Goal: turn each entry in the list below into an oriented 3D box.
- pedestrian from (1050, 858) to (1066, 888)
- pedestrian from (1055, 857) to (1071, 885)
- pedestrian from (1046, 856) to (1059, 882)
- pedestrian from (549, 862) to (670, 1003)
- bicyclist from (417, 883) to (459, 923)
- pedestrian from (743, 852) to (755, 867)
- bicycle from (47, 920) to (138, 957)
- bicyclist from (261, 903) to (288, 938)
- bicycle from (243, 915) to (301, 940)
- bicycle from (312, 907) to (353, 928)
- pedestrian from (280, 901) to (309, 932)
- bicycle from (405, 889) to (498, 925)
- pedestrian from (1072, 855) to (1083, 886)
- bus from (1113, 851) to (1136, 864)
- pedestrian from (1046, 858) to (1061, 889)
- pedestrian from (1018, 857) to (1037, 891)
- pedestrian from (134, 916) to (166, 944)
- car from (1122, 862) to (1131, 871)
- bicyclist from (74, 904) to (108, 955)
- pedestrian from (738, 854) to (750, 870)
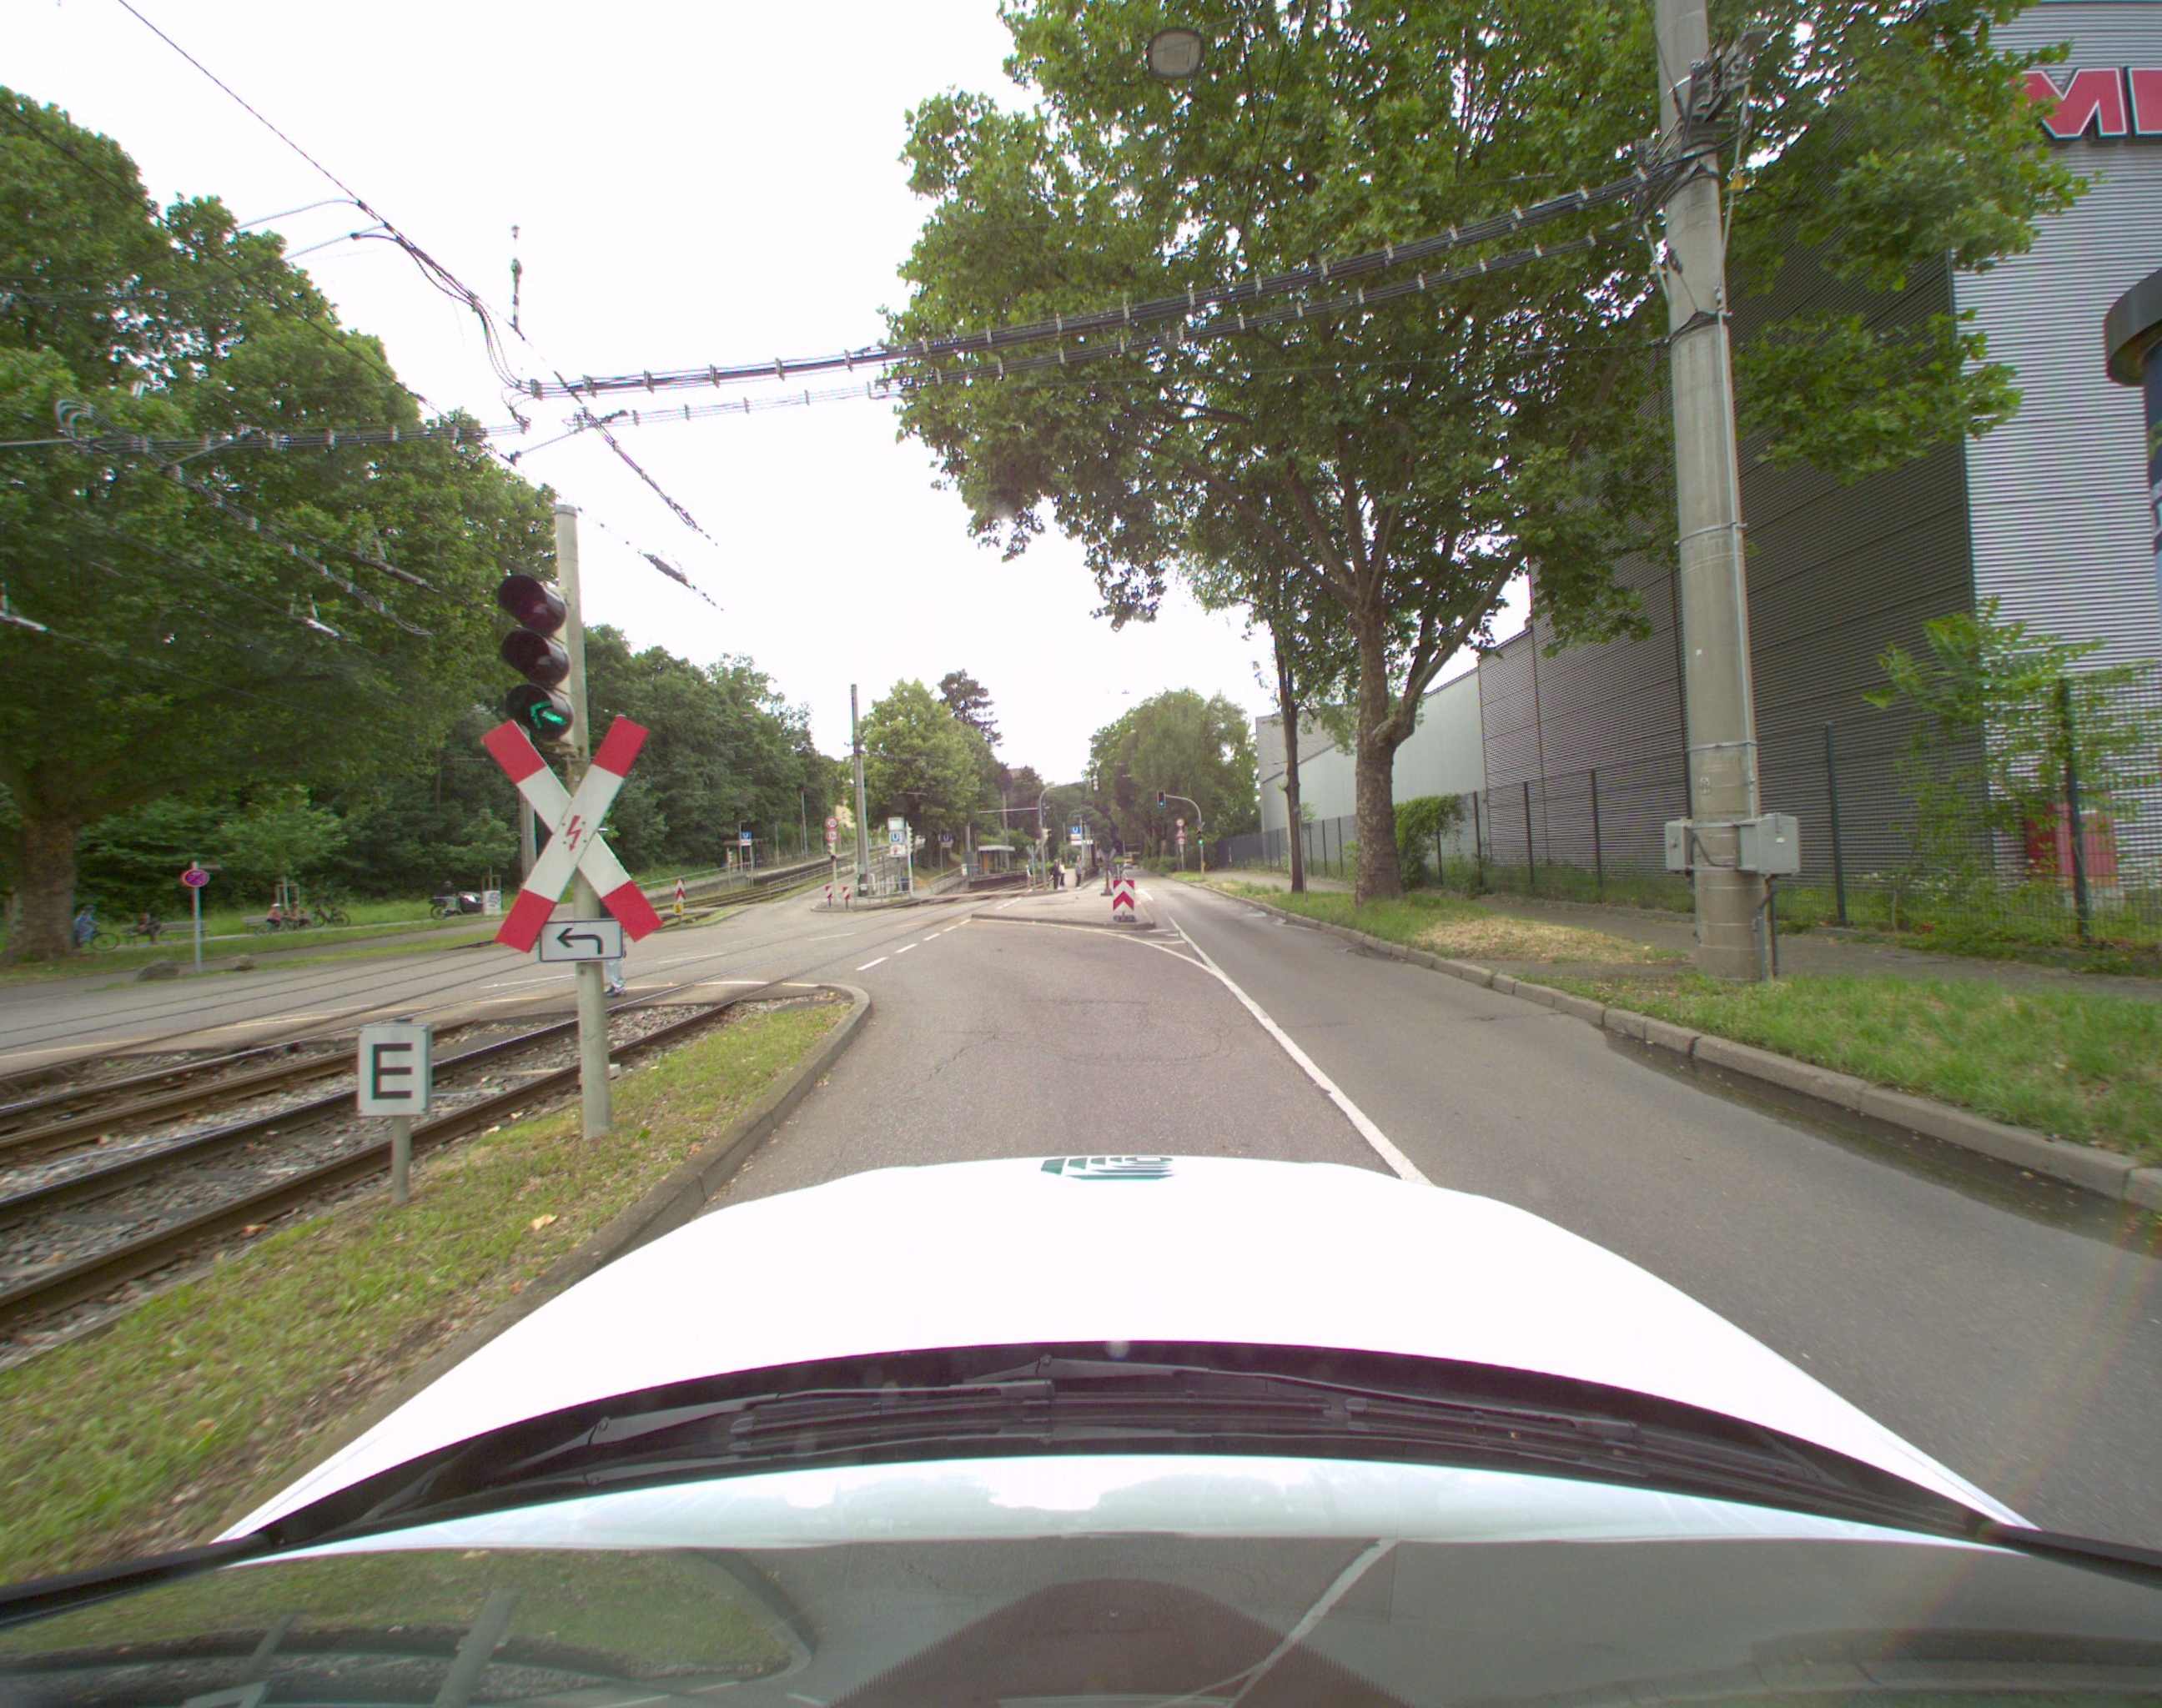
[{"bbox_3d":[-1.317,1.094,46.906,0.674,1.665,0.741,-1,-1,17],"label":"pedestrian"},{"bbox_3d":[-1.077,1.041,49.631,0.673,1.665,0.742,-1,-1,30],"label":"pedestrian"},{"bbox_3d":[-1.777,0.938,51.132,0.735,1.665,0.680,0,-1,-8],"label":"pedestrian"},{"bbox_3d":[-6.210,1.000,10.754,1.108,1.760,0.817,-1,-1,15],"label":"pedestrian"},{"bbox_3d":[-29.781,2.248,37.725,0.726,1.711,1.301,1,3,32],"label":"bicyclist"},{"bbox_3d":[-30.261,0.533,74.221,0.771,1.326,0.785,0,-1,-6],"label":"pedestrian"},{"bbox_3d":[-34.503,2.928,28.466,0.469,1.041,1.957,0,2,27],"label":"bicycle"},{"bbox_3d":[-32.238,2.641,32.560,0.450,1.301,0.584,1,4,19],"label":"bicyclist"},{"bbox_3d":[-32.253,2.930,32.508,0.450,0.738,1.567,1,4,19],"label":"bicycle"},{"bbox_3d":[-32.900,2.780,35.798,1.726,0.885,0.625,-1,-1,21],"label":"bicycle"},{"bbox_3d":[-33.362,2.637,34.532,0.574,1.235,0.676,-1,-1,15],"label":"pedestrian"},{"bbox_3d":[-29.486,2.440,38.234,0.726,1.289,3.368,1,4,32],"label":"bicycle"},{"bbox_3d":[-0.192,0.971,48.072,0.547,1.758,0.739,-1,-1,7],"label":"pedestrian"},{"bbox_3d":[12.156,0.938,226.589,2.708,3.626,8.997,-1,-1,30],"label":"bus"},{"bbox_3d":[-1.499,1.043,44.313,0.732,1.665,0.682,-1,-1,4],"label":"pedestrian"},{"bbox_3d":[-2.921,1.080,44.784,0.662,1.821,0.810,-1,-1,43],"label":"pedestrian"},{"bbox_3d":[-35.134,2.855,30.743,0.526,0.989,0.623,-1,-1,17],"label":"pedestrian"},{"bbox_3d":[8.748,2.440,156.841,1.737,1.599,4.002,-1,-1,2],"label":"car"},{"bbox_3d":[-34.528,2.619,28.409,0.469,1.674,0.627,0,2,27],"label":"bicyclist"},{"bbox_3d":[-30.178,0.717,73.029,0.771,1.326,0.785,0,2,-6],"label":"pedestrian"}]
